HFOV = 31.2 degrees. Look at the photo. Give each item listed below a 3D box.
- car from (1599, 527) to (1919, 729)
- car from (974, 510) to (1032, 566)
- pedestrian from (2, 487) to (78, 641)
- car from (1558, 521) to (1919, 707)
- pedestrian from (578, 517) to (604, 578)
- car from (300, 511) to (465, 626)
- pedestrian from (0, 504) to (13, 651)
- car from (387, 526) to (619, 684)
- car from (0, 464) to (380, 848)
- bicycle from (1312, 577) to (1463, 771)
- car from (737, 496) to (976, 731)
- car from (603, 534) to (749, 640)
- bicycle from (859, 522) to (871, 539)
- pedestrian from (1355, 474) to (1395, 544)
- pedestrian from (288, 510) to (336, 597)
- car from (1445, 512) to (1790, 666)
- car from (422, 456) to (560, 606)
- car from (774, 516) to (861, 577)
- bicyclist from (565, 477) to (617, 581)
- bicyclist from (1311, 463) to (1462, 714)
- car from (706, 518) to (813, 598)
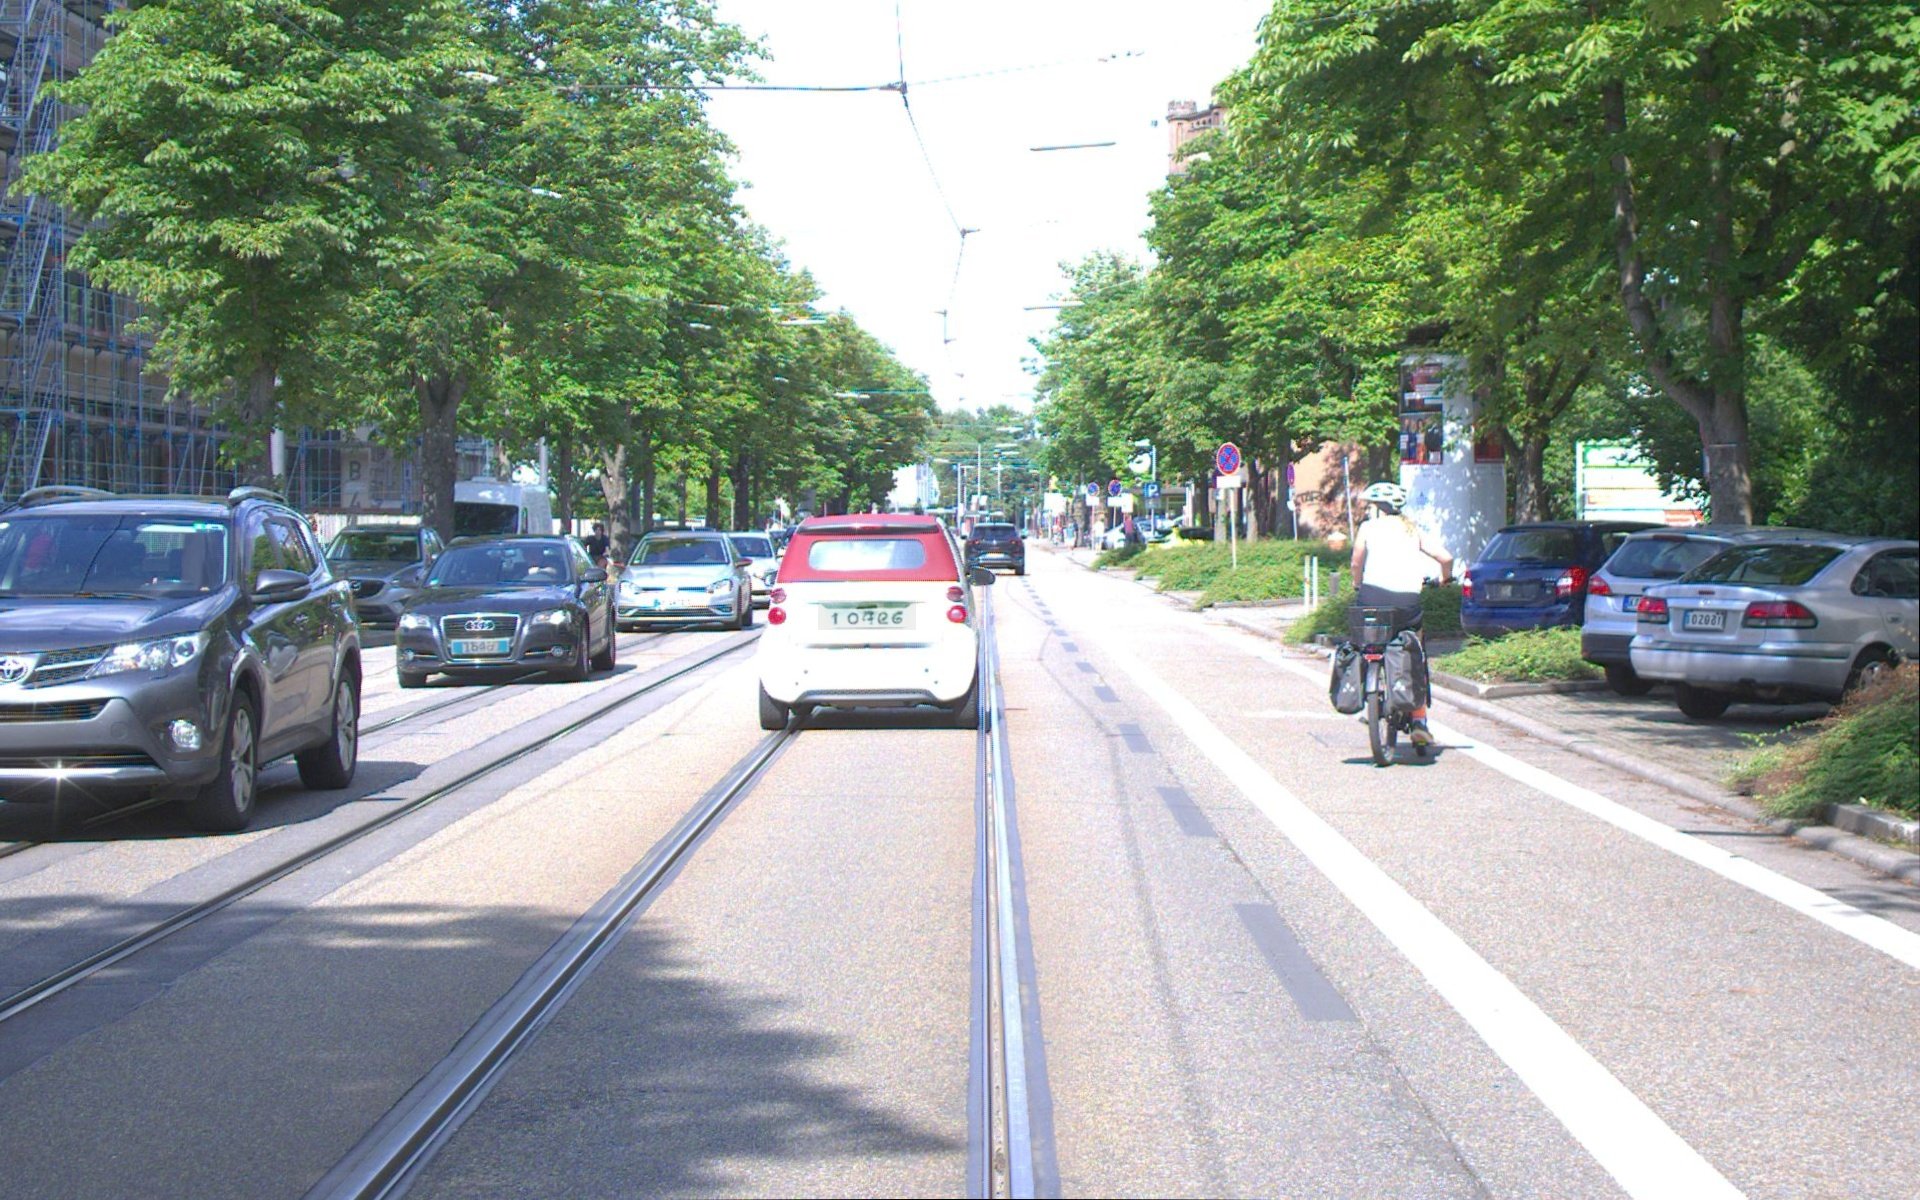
[{"bbox_3d":[7.064,0.159,26.672,4.230,1.415,1.723,-1,3,-37],"label":"car"},{"bbox_3d":[1.263,-1.858,102.553,1.665,1.619,3.621,0,1,0],"label":"car"},{"bbox_3d":[-11.221,-0.446,41.946,0.707,1.825,0.662,3,2,-5],"label":"pedestrian"},{"bbox_3d":[7.071,0.090,29.783,3.794,1.469,1.652,0,3,-41],"label":"car"},{"bbox_3d":[-12.042,-1.716,112.167,0.802,2.007,0.485,0,1,-8],"label":"pedestrian"},{"bbox_3d":[-8.878,-0.508,53.117,1.804,1.656,4.103,1,1,0],"label":"car"},{"bbox_3d":[-12.023,-0.287,42.033,0.707,1.787,0.662,1,1,-5],"label":"pedestrian"},{"bbox_3d":[-4.369,0.009,33.405,1.723,1.371,4.000,-2,1,-1],"label":"car"},{"bbox_3d":[-4.261,0.211,17.744,1.825,1.721,4.392,-1,1,-1],"label":"car"},{"bbox_3d":[2.686,0.438,21.750,0.875,1.122,2.135,1,1,6],"label":"bicycle"},{"bbox_3d":[-0.731,0.042,25.797,1.665,1.619,3.621,0,2,0],"label":"car"},{"bbox_3d":[-4.078,-0.221,49.896,1.773,1.411,3.852,-2,1,0],"label":"car"},{"bbox_3d":[-5.457,-3.977,196.849,0.618,0.970,1.717,0,1,-4],"label":"bicycle"},{"bbox_3d":[12.004,-2.628,99.452,0.977,2.007,1.093,1,1,-1],"label":"pedestrian"},{"bbox_3d":[-12.242,-0.873,64.921,0.764,1.614,0.594,1,1,0],"label":"pedestrian"},{"bbox_3d":[7.021,-0.147,36.495,1.615,1.481,3.990,0,2,45],"label":"car"},{"bbox_3d":[-8.650,-1.279,63.777,1.769,2.630,5.322,1,1,0],"label":"car"},{"bbox_3d":[-3.654,-1.387,88.796,1.800,1.503,4.536,1,1,3],"label":"car"},{"bbox_3d":[-7.284,-1.396,67.829,0.876,2.007,0.834,-2,0,-1],"label":"bicyclist"},{"bbox_3d":[2.692,-0.081,21.773,0.890,1.523,1.085,1,1,6],"label":"bicyclist"},{"bbox_3d":[-3.643,-0.787,62.979,1.686,1.400,4.227,0,1,0],"label":"car"}]
